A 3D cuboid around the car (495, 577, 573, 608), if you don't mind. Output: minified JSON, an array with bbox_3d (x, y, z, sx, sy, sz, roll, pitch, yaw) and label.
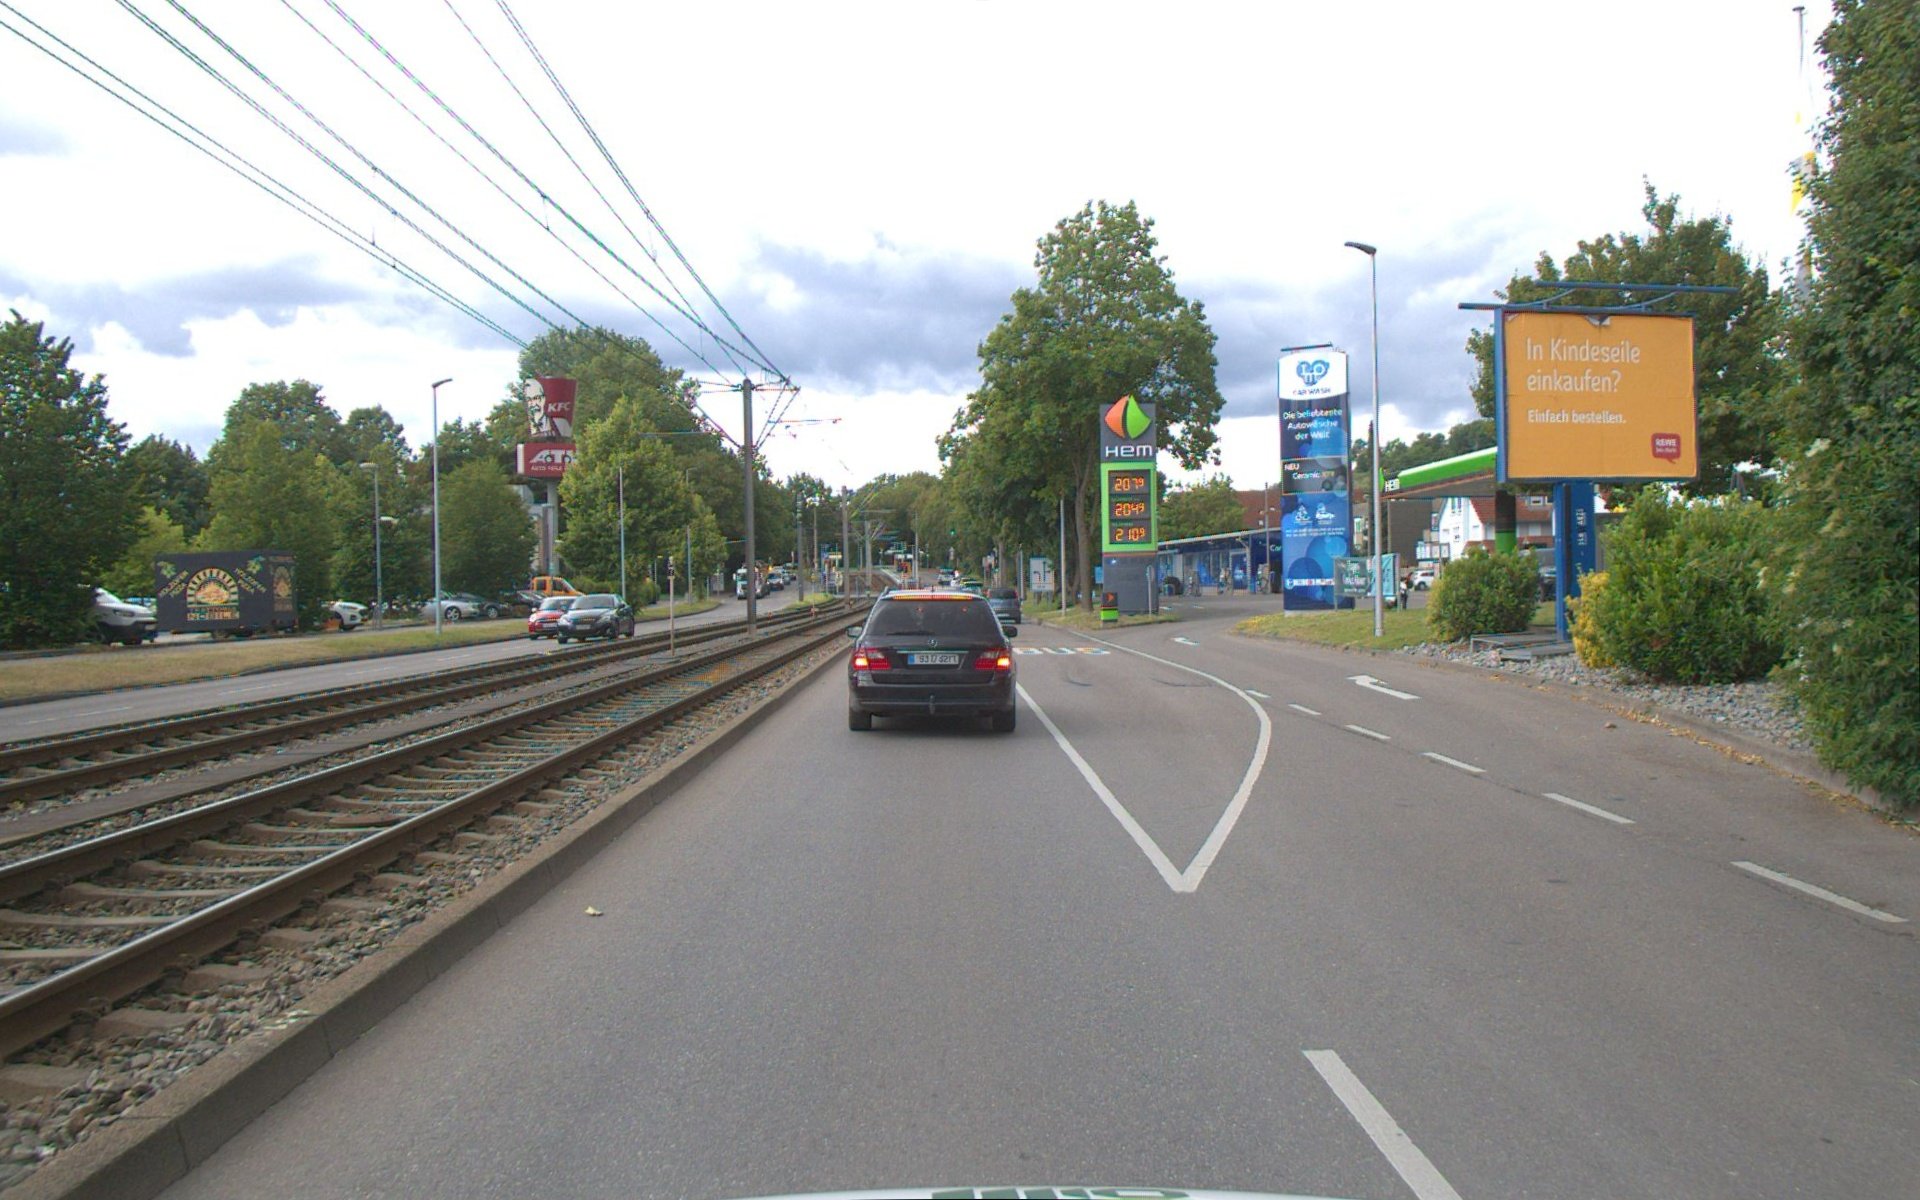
[{"bbox_3d":[-23.608,-0.422,91.795,3.910,1.627,1.876,-2,1,-6],"label":"car"}]

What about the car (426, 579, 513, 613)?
[{"bbox_3d":[-24.957,-0.219,84.278,3.910,1.627,1.876,-2,1,-6],"label":"car"}]

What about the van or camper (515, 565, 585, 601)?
[{"bbox_3d":[-25.229,-1.070,101.844,3.910,2.172,1.876,0,1,-6],"label":"van or camper"}]

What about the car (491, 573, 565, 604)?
[{"bbox_3d":[-25.276,-0.675,96.791,3.910,1.829,1.876,0,1,-6],"label":"car"}]

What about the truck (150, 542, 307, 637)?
[{"bbox_3d":[-23.232,-0.349,52.693,3.908,2.871,2.375,-1,1,-4],"label":"truck"}]

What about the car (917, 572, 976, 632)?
[{"bbox_3d":[-0.438,0.054,51.620,1.744,1.781,3.717,1,0,-1],"label":"car"}]

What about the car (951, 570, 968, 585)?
[{"bbox_3d":[-0.076,-2.657,193.351,1.953,1.744,3.999,-1,1,-1],"label":"car"}]

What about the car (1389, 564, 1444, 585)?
[{"bbox_3d":[38.550,-2.143,139.748,4.132,1.713,1.776,1,0,-4],"label":"car"}]

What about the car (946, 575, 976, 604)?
[{"bbox_3d":[0.045,-0.563,85.615,1.436,1.439,3.353,1,0,-1],"label":"car"}]

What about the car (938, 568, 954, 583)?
[{"bbox_3d":[-1.855,-3.221,215.169,1.953,1.870,3.999,1,1,-1],"label":"car"}]

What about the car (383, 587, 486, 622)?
[{"bbox_3d":[-24.306,0.200,76.592,4.221,1.497,1.679,-1,1,-3],"label":"car"}]

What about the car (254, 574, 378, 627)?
[{"bbox_3d":[-24.119,0.007,62.044,3.910,1.828,1.876,-2,1,-6],"label":"car"}]

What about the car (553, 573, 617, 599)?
[{"bbox_3d":[-25.029,-0.938,110.503,3.910,1.627,1.794,-2,1,-6],"label":"car"}]

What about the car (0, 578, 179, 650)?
[{"bbox_3d":[-23.150,0.345,43.577,4.136,1.757,1.995,-1,1,-3],"label":"car"}]

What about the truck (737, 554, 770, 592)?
[{"bbox_3d":[-21.483,-2.792,172.456,2.653,3.727,11.104,-1,1,-4],"label":"truck"}]

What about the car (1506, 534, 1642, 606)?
[{"bbox_3d":[15.931,-0.741,43.135,1.784,1.704,4.336,-3,0,-1],"label":"car"}]

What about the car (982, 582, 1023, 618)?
[{"bbox_3d":[1.755,-0.027,69.271,1.539,1.439,3.353,1,0,-1],"label":"car"}]

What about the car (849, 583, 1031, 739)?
[{"bbox_3d":[-0.223,0.580,18.130,1.772,1.500,3.880,0,1,-1],"label":"car"}]

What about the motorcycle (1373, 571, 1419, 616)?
[{"bbox_3d":[13.427,-0.206,51.007,0.838,1.354,1.990,-1,1,-1],"label":"motorcycle"}]

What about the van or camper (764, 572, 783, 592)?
[{"bbox_3d":[-23.185,-2.237,205.913,1.954,2.395,5.763,-1,1,-3],"label":"van or camper"}]

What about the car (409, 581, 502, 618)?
[{"bbox_3d":[-24.259,-0.027,79.611,3.910,1.663,1.876,-2,1,-6],"label":"car"}]

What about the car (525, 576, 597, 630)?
[{"bbox_3d":[-14.225,0.071,59.116,1.756,1.802,3.998,-1,1,-3],"label":"car"}]

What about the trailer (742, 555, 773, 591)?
[{"bbox_3d":[-22.035,-2.969,180.568,2.652,3.724,13.289,-1,1,-4],"label":"trailer"}]

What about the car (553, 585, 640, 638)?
[{"bbox_3d":[-11.079,0.310,50.677,1.724,1.425,4.442,-4,1,-2],"label":"car"}]
